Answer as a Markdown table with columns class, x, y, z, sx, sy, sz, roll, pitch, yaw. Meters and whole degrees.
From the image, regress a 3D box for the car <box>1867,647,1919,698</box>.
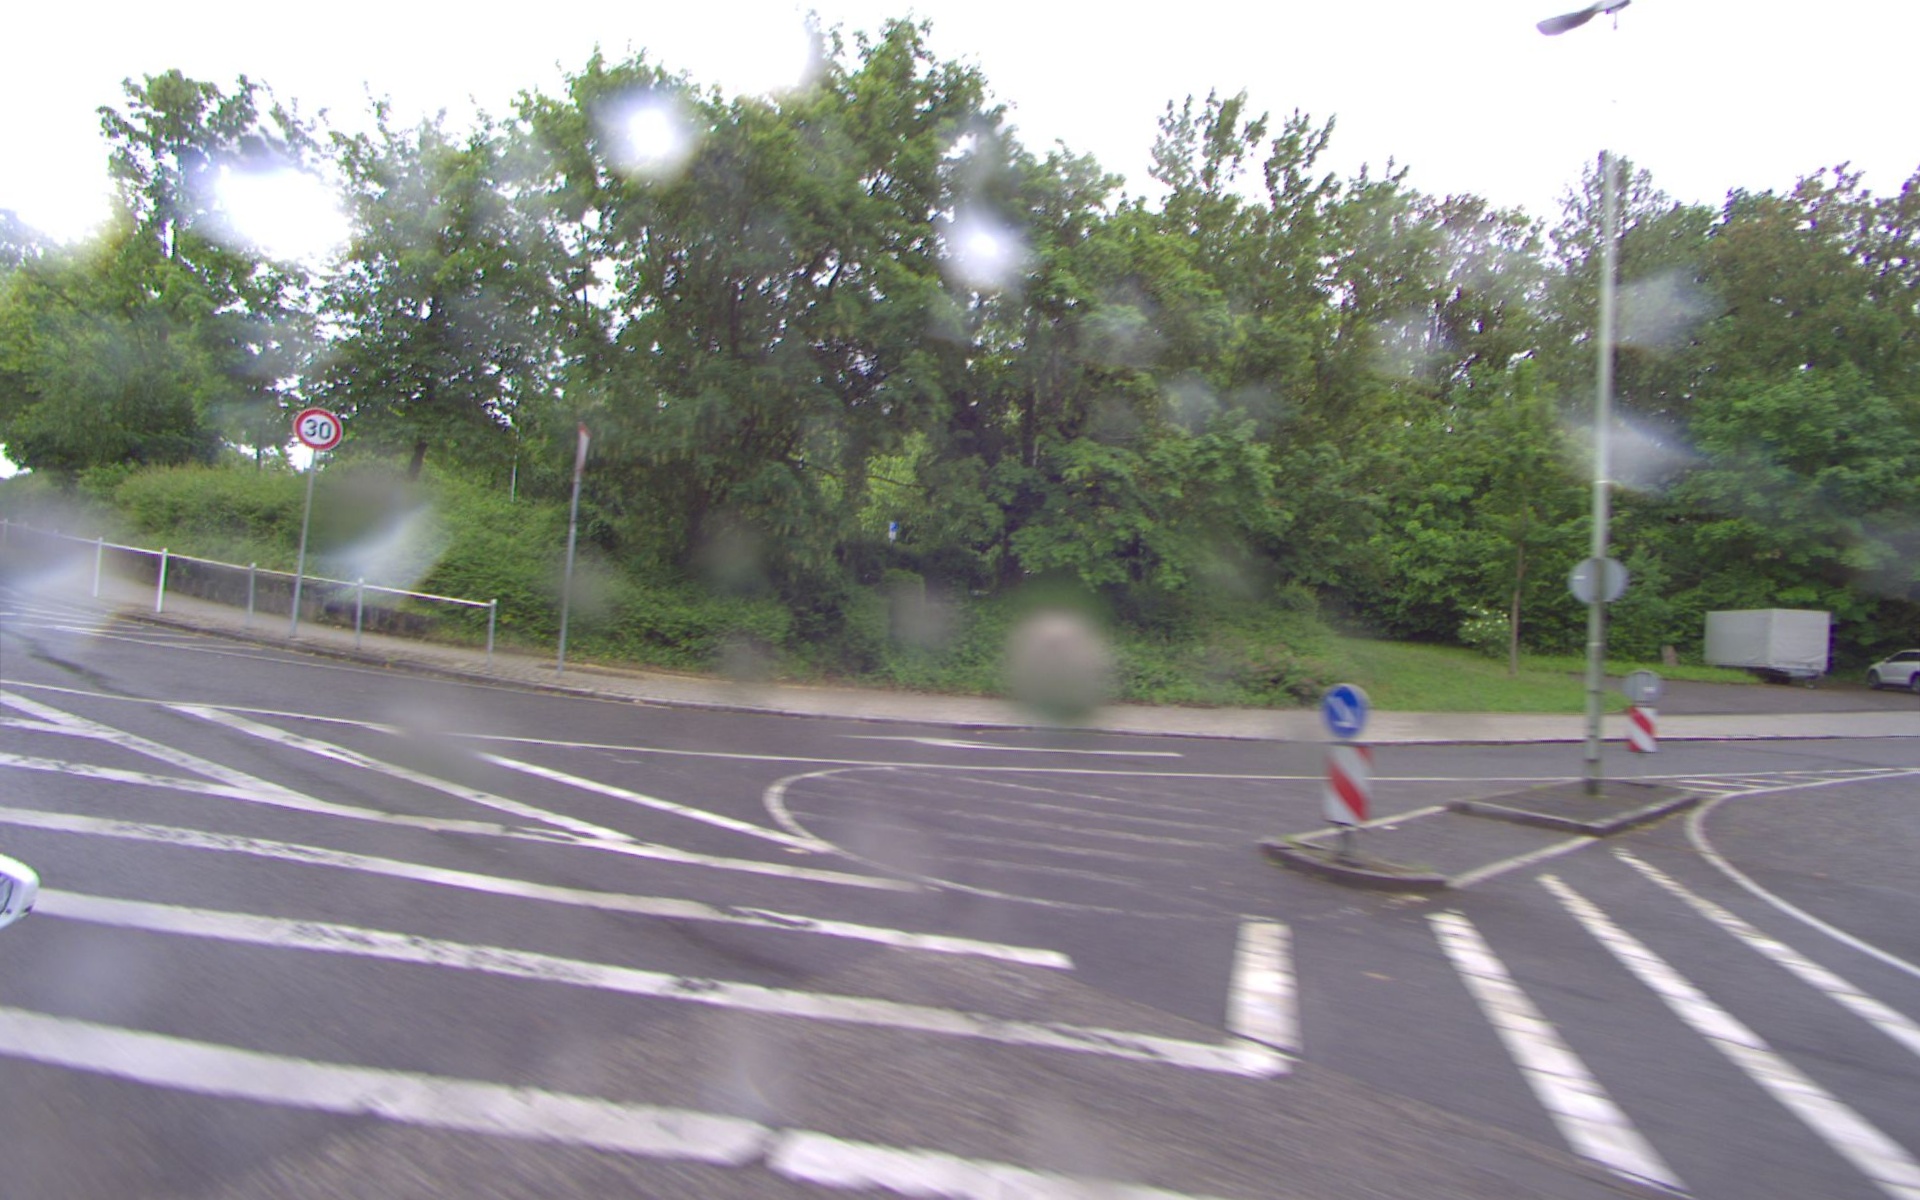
| class | x | y | z | sx | sy | sz | roll | pitch | yaw |
| --- | --- | --- | --- | --- | --- | --- | --- | --- | --- |
| car | 33.912 | 2.608 | 35.055 | 1.811 | 1.642 | 3.620 | 7 | 0 | 15 |

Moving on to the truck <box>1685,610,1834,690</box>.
| class | x | y | z | sx | sy | sz | roll | pitch | yaw |
| --- | --- | --- | --- | --- | --- | --- | --- | --- | --- |
| truck | 30.579 | 1.815 | 38.750 | 1.922 | 2.731 | 5.575 | 5 | 1 | 11 |
